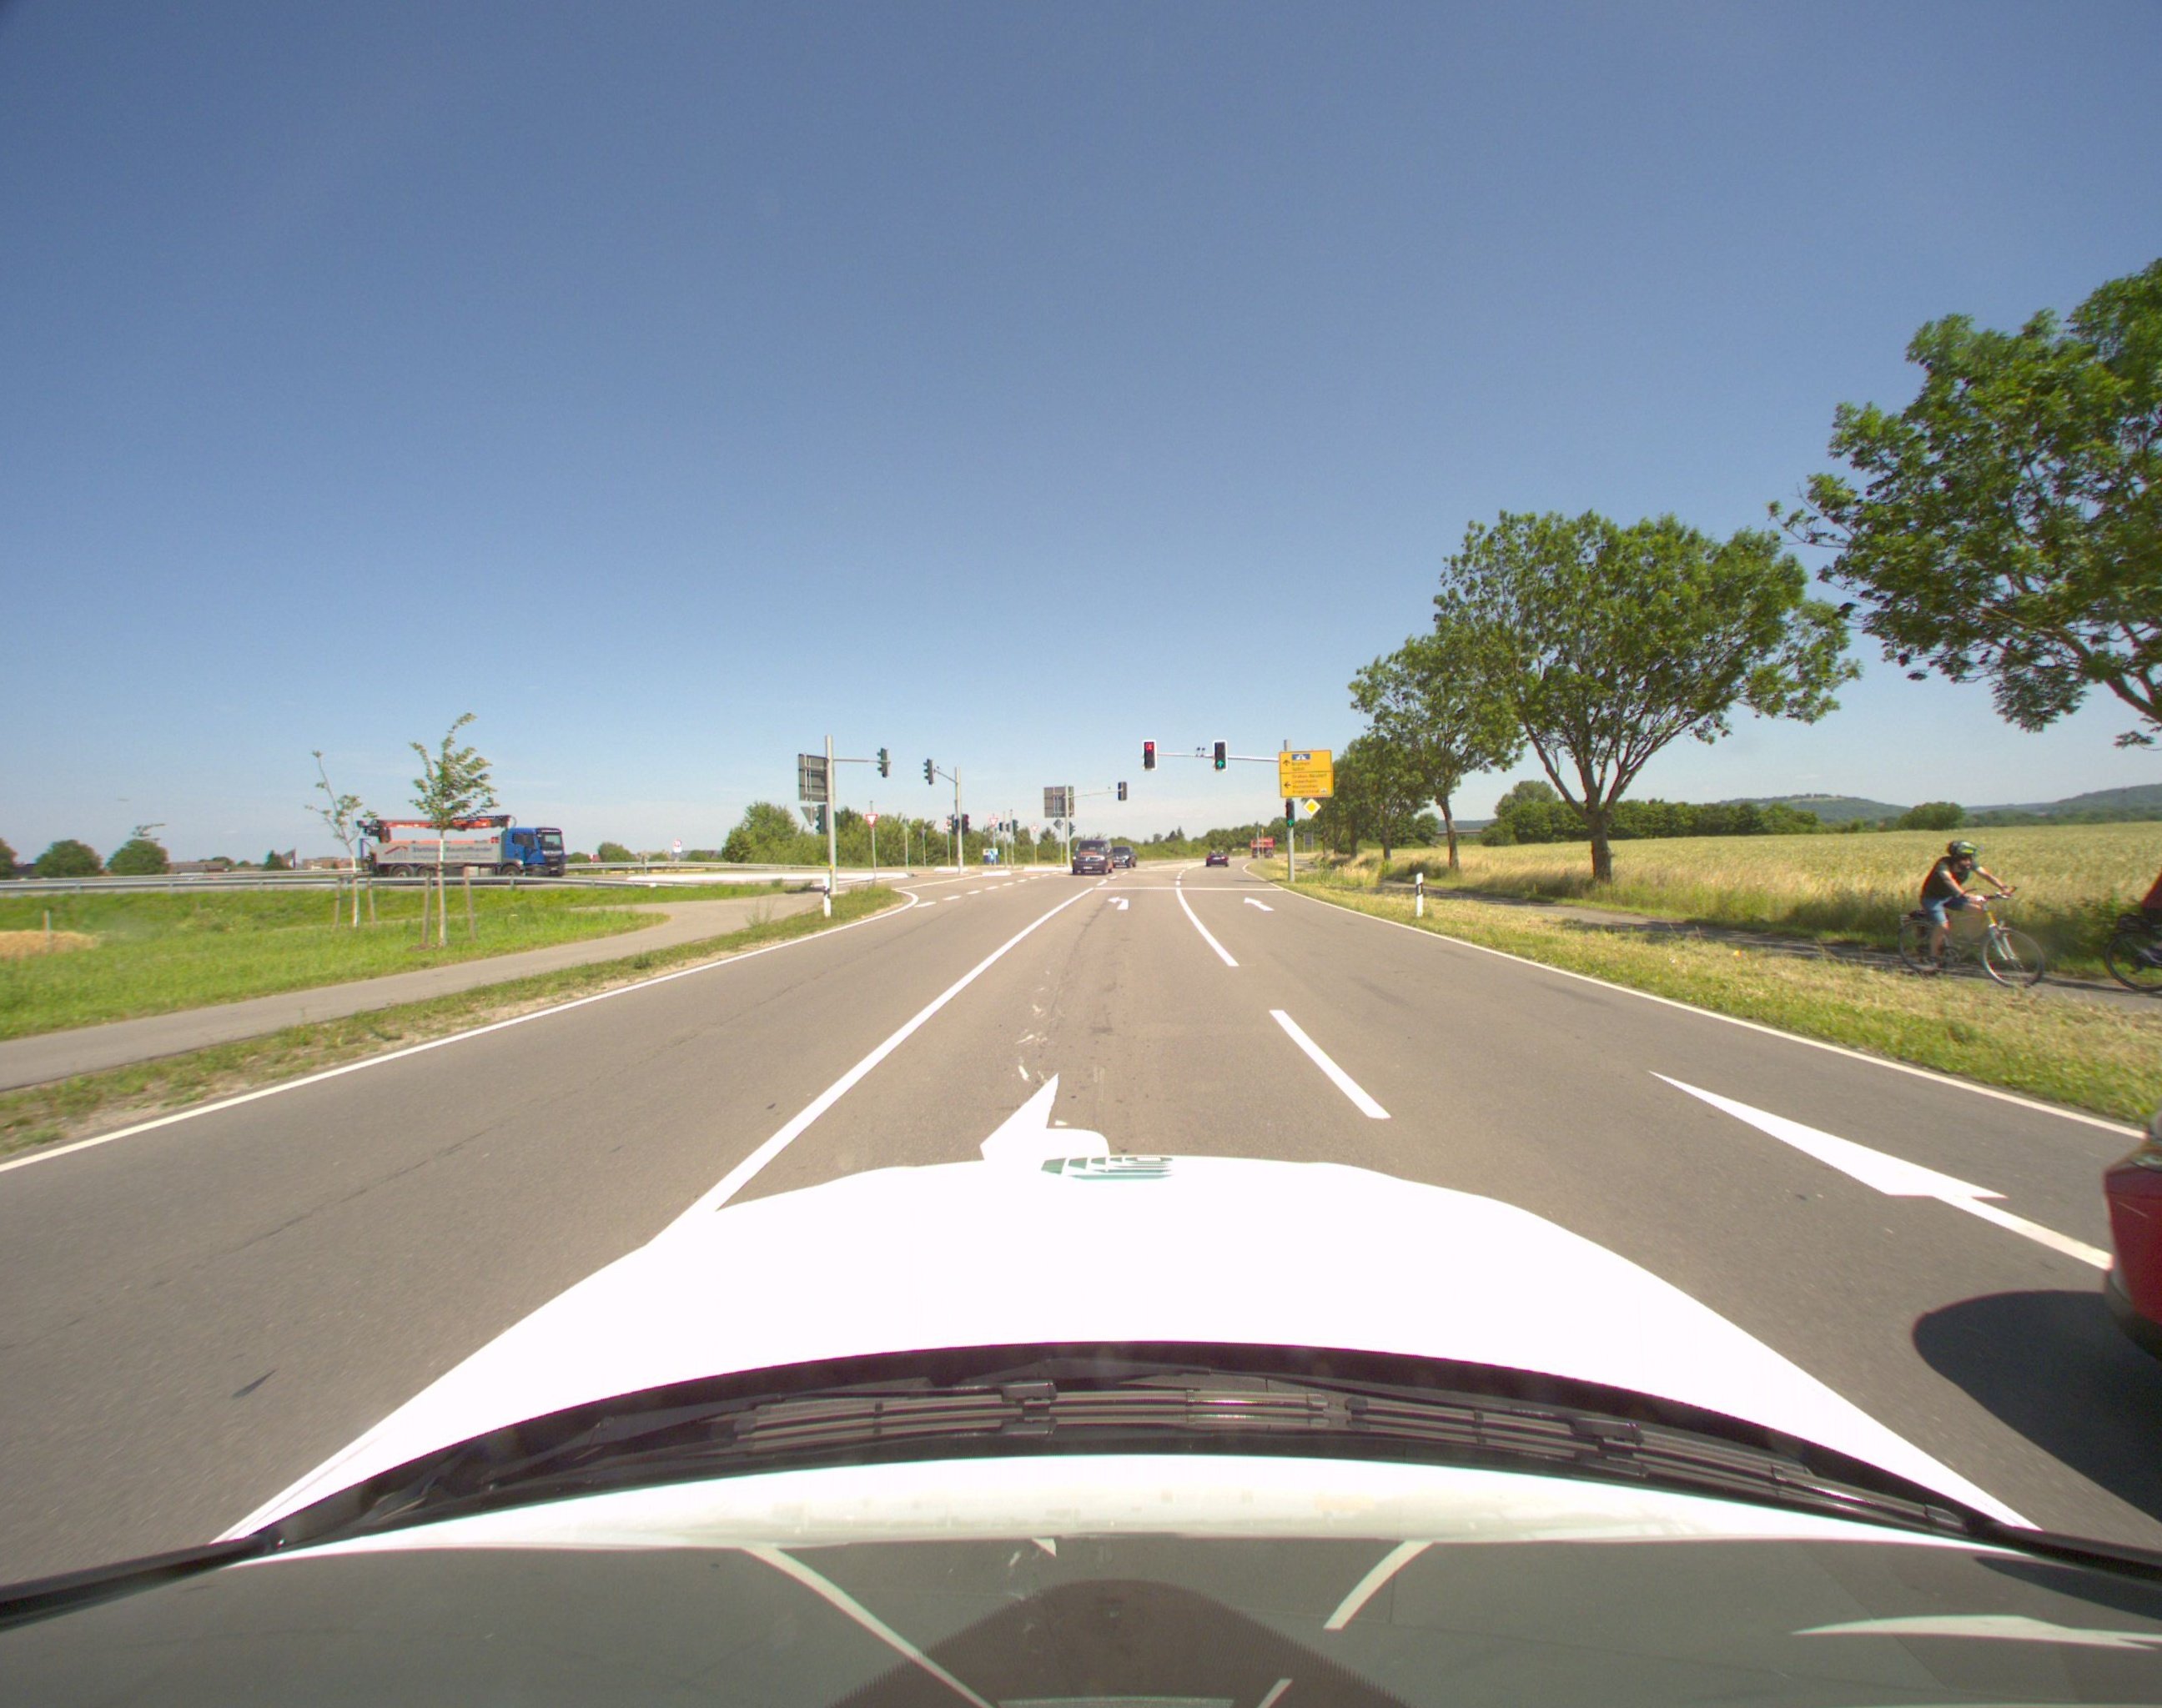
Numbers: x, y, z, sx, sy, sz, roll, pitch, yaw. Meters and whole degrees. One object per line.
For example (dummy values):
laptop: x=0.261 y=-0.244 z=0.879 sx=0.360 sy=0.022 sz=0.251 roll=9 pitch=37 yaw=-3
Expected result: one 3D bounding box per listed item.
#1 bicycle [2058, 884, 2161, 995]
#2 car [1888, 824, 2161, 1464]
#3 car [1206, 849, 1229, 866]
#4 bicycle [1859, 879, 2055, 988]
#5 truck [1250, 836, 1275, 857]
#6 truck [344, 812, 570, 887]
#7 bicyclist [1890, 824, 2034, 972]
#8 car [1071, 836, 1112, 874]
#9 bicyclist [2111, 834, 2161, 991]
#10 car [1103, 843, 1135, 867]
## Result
bicycle: x=12.551 y=0.995 z=9.218 sx=0.695 sy=1.210 sz=2.055 roll=1 pitch=0 yaw=7
car: x=3.521 y=0.697 z=0.422 sx=1.816 sy=1.552 sz=4.448 roll=0 pitch=0 yaw=0
car: x=11.090 y=0.318 z=66.221 sx=1.737 sy=1.376 sz=3.688 roll=0 pitch=-1 yaw=9
bicycle: x=11.118 y=0.946 z=10.456 sx=0.601 sy=1.176 sz=2.057 roll=2 pitch=0 yaw=11
truck: x=27.514 y=-1.050 z=123.155 sx=2.692 sy=3.053 sz=8.204 roll=-1 pitch=-1 yaw=19
truck: x=-33.467 y=-0.256 z=43.894 sx=10.047 sy=3.793 sz=2.626 roll=-1 pitch=0 yaw=0
bicyclist: x=11.119 y=0.513 z=10.331 sx=0.583 sy=1.734 sz=1.175 roll=3 pitch=1 yaw=11
car: x=0.652 y=0.040 z=45.727 sx=1.921 sy=1.978 sz=4.691 roll=-1 pitch=1 yaw=5
bicyclist: x=12.592 y=0.675 z=9.190 sx=0.624 sy=1.782 sz=0.980 roll=3 pitch=1 yaw=7
car: x=2.942 y=0.052 z=61.746 sx=1.919 sy=1.739 sz=4.901 roll=-1 pitch=1 yaw=9
